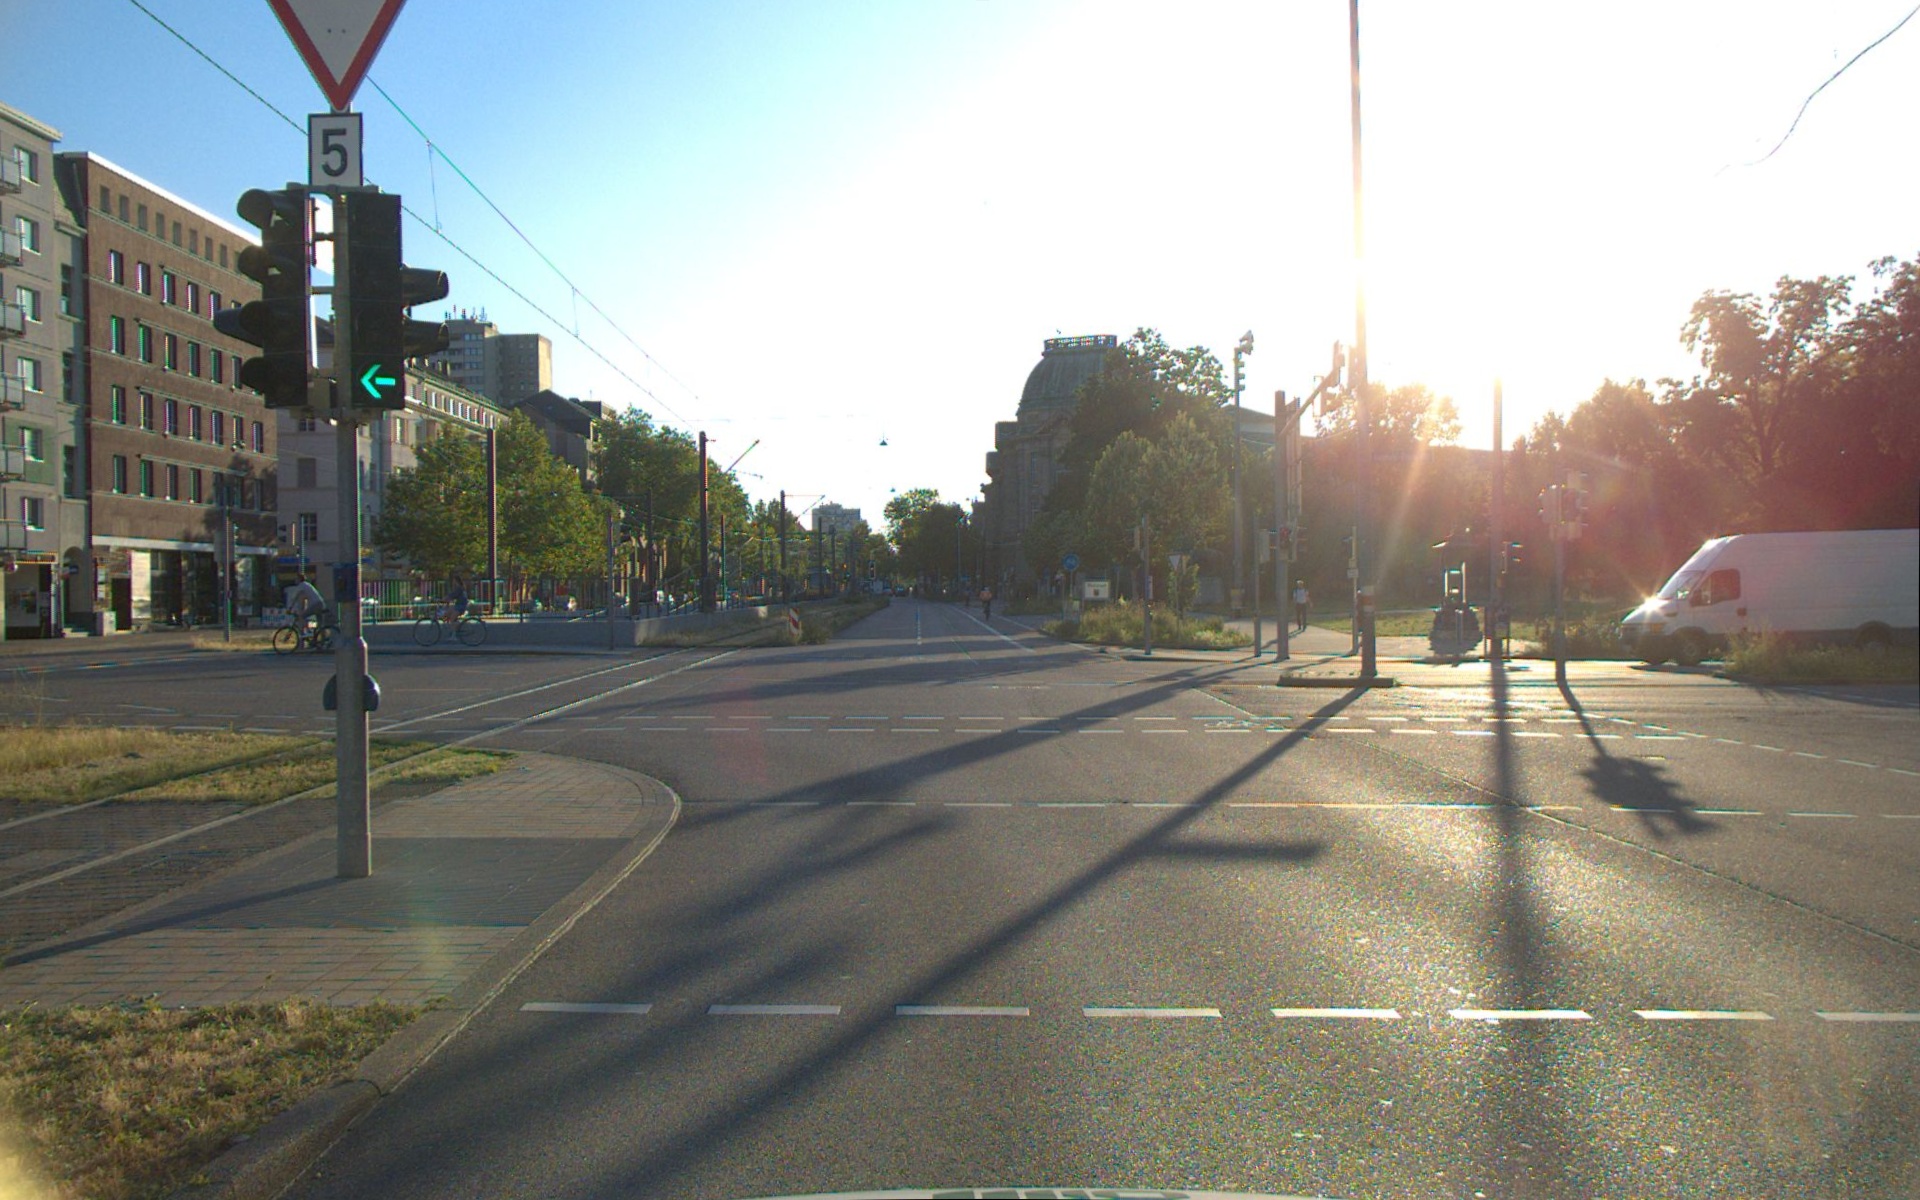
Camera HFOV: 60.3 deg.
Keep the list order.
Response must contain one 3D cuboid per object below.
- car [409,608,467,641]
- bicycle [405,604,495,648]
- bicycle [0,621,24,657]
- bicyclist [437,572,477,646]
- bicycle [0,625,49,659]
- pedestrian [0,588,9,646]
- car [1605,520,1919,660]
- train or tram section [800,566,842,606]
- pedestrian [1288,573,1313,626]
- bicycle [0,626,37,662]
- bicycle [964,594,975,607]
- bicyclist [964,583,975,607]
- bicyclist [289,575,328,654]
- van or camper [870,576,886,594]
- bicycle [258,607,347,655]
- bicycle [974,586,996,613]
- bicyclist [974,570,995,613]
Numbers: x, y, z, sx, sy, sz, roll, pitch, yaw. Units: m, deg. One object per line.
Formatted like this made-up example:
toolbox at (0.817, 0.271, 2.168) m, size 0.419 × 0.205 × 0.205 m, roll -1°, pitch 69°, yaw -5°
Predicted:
car at (-28.349, 1.299, 89.916) m, size 1.654 × 1.646 × 4.002 m, roll -2°, pitch 0°, yaw 3°
bicycle at (-12.881, 0.657, 41.809) m, size 2.124 × 1.102 × 0.537 m, roll 0°, pitch -1°, yaw -10°
bicycle at (-32.869, 1.343, 56.228) m, size 1.655 × 1.199 × 0.748 m, roll -1°, pitch 0°, yaw 1°
bicyclist at (-12.723, 0.218, 41.839) m, size 0.860 × 1.850 × 0.537 m, roll -1°, pitch 0°, yaw -10°
bicycle at (-32.835, 1.476, 57.760) m, size 1.655 × 1.164 × 0.697 m, roll -1°, pitch 0°, yaw 1°
pedestrian at (-36.793, 0.649, 63.038) m, size 0.589 × 2.216 × 0.792 m, roll -1°, pitch 0°, yaw -1°
car at (17.805, -0.218, 35.764) m, size 6.866 × 2.877 × 2.093 m, roll -1°, pitch 0°, yaw 1°
train or tram section at (-15.012, -1.622, 178.201) m, size 4.301 × 3.916 × 11.401 m, roll -1°, pitch 2°, yaw -5°
pedestrian at (12.040, -0.028, 58.459) m, size 0.815 × 1.835 × 0.811 m, roll -1°, pitch 0°, yaw 14°
bicycle at (-32.865, 1.522, 57.003) m, size 1.655 × 1.190 × 0.748 m, roll -1°, pitch 0°, yaw 1°
bicycle at (0.867, 0.007, 146.512) m, size 0.905 × 1.131 × 2.332 m, roll -1°, pitch 0°, yaw -1°
bicyclist at (0.851, -0.431, 146.563) m, size 0.907 × 2.049 × 0.850 m, roll 0°, pitch 0°, yaw -1°
bicyclist at (-15.493, 0.344, 39.339) m, size 0.780 × 1.850 × 0.643 m, roll -1°, pitch 0°, yaw -15°
van or camper at (-12.474, -2.259, 251.632) m, size 2.400 × 2.819 × 5.598 m, roll -1°, pitch 0°, yaw -3°
bicycle at (-15.613, 0.729, 39.326) m, size 1.869 × 1.094 × 0.630 m, roll -1°, pitch 0°, yaw -15°
bicycle at (1.321, -0.013, 88.968) m, size 1.075 × 1.423 × 2.831 m, roll -1°, pitch 0°, yaw -1°
bicyclist at (1.322, -0.463, 88.862) m, size 1.060 × 2.316 × 0.986 m, roll 0°, pitch 0°, yaw -1°
